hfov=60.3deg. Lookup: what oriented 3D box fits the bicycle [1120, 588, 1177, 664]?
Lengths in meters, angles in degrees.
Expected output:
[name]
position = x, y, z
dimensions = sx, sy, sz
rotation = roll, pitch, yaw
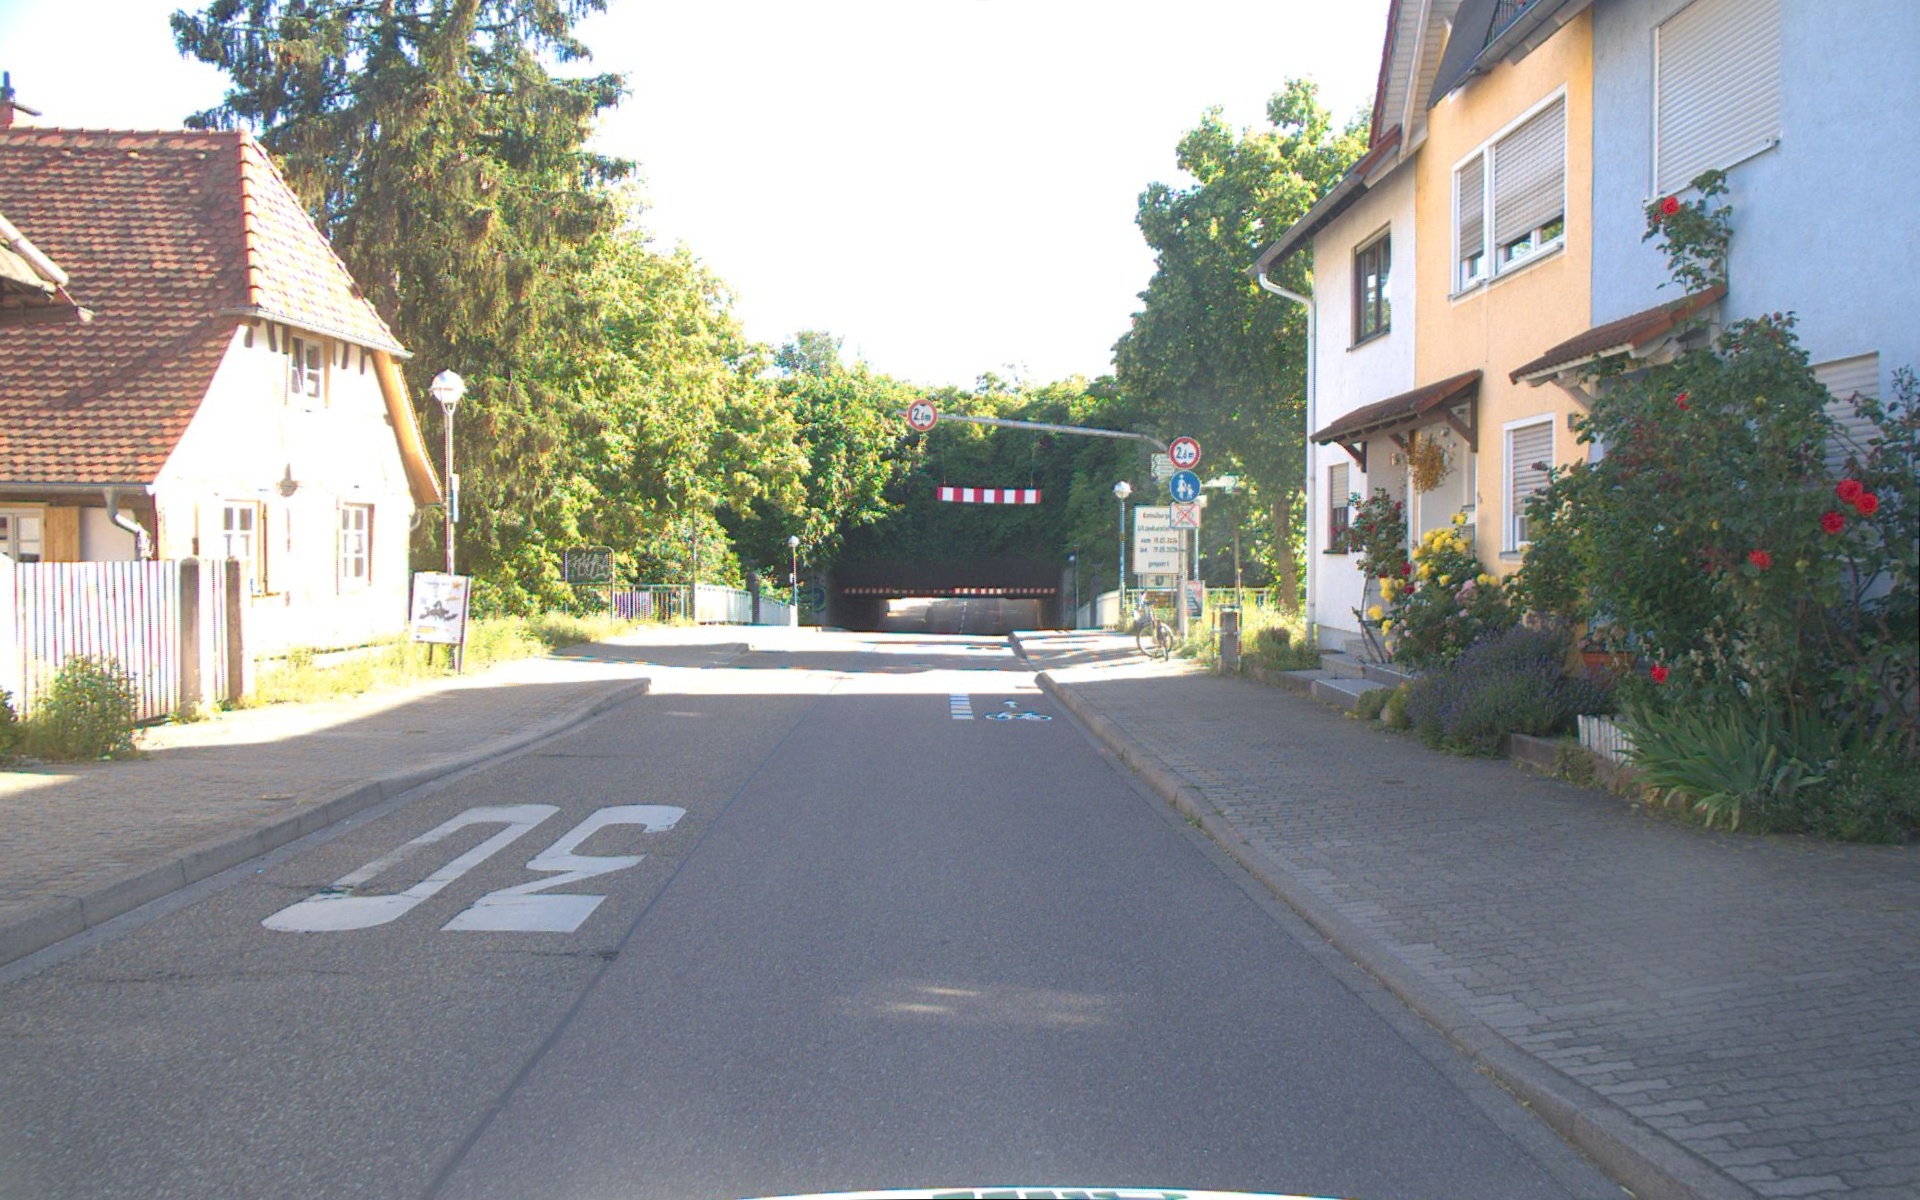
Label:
[bicycle]
position = 3.207, 0.428, 28.265
dimensions = 0.675, 1.177, 1.539
rotation = -5, 1, -1
